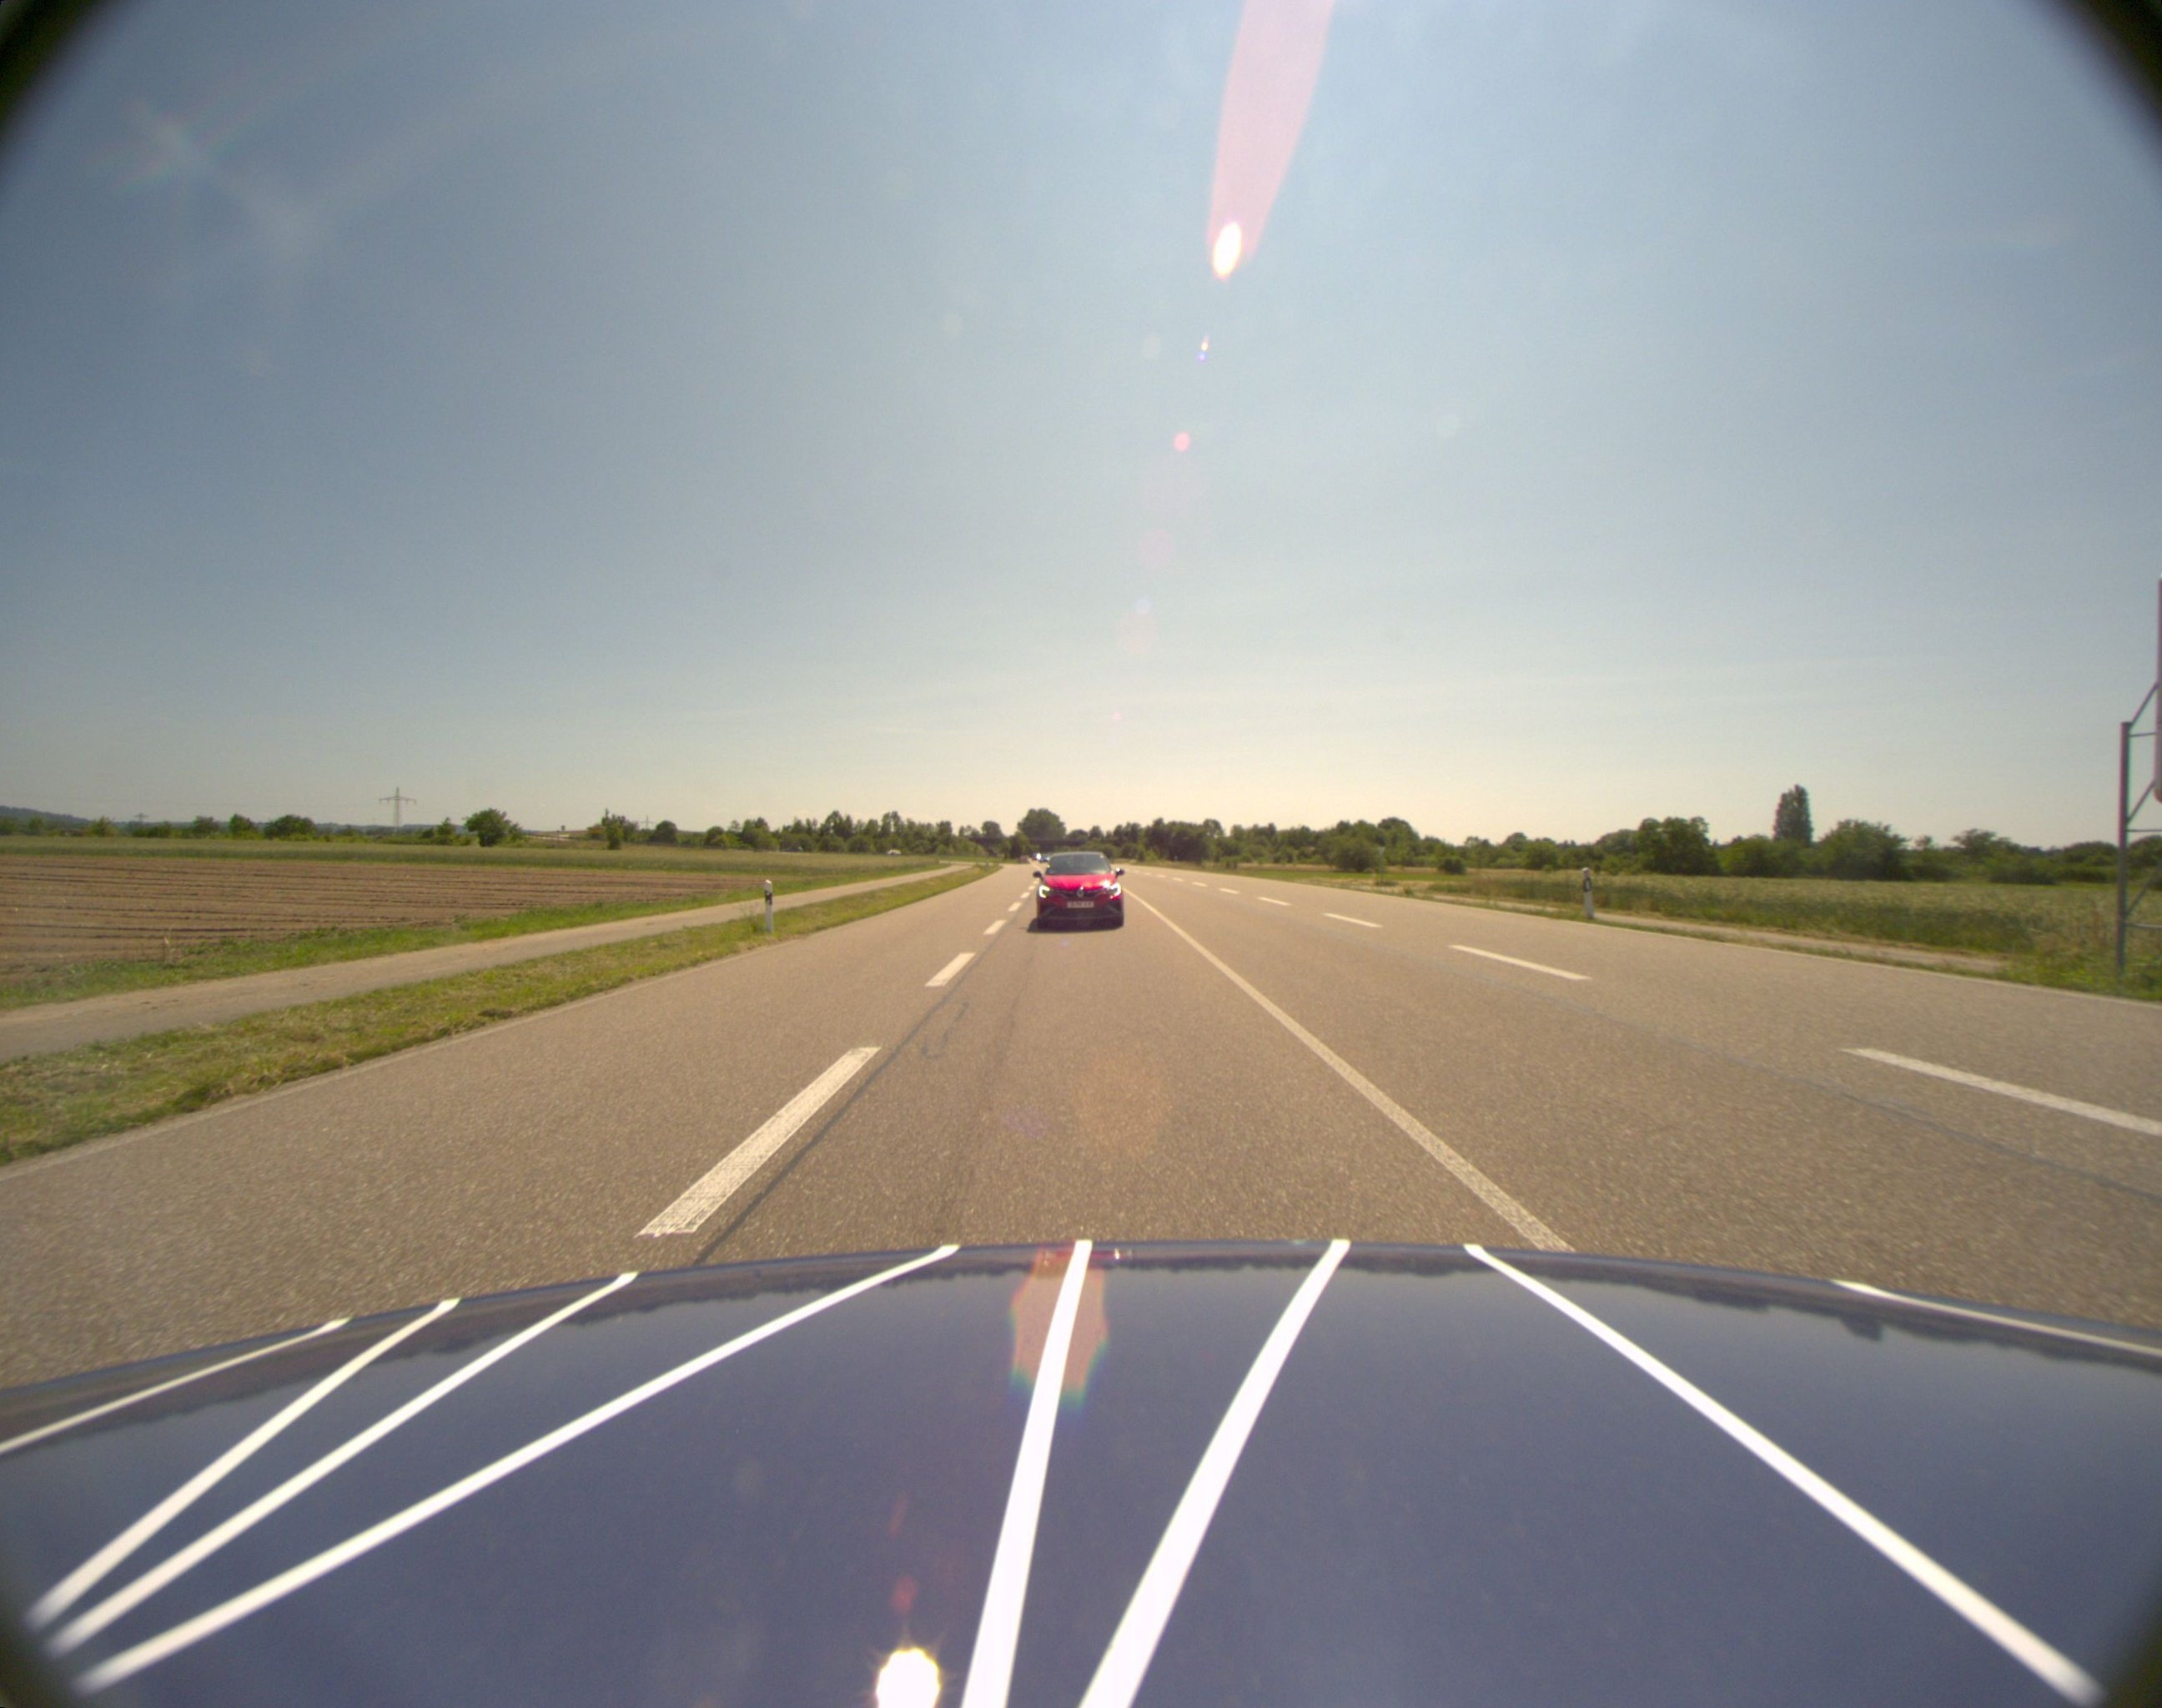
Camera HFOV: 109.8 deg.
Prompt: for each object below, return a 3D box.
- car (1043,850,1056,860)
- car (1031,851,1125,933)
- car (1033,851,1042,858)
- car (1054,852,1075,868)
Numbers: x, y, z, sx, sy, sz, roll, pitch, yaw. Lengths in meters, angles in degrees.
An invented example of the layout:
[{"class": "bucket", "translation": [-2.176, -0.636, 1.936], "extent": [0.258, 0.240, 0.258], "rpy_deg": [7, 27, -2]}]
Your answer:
[{"class": "car", "translation": [-5.156, 0.207, 125.290], "extent": [1.983, 1.587, 5.400], "rpy_deg": [0, 1, -2]}, {"class": "car", "translation": [0.003, 0.750, 17.320], "extent": [1.837, 1.587, 4.722], "rpy_deg": [0, 1, 1]}, {"class": "car", "translation": [-10.017, 0.064, 173.548], "extent": [1.983, 1.587, 5.400], "rpy_deg": [0, 1, -3]}, {"class": "car", "translation": [-1.656, 0.576, 76.772], "extent": [1.983, 1.587, 5.401], "rpy_deg": [0, 1, -1]}]
